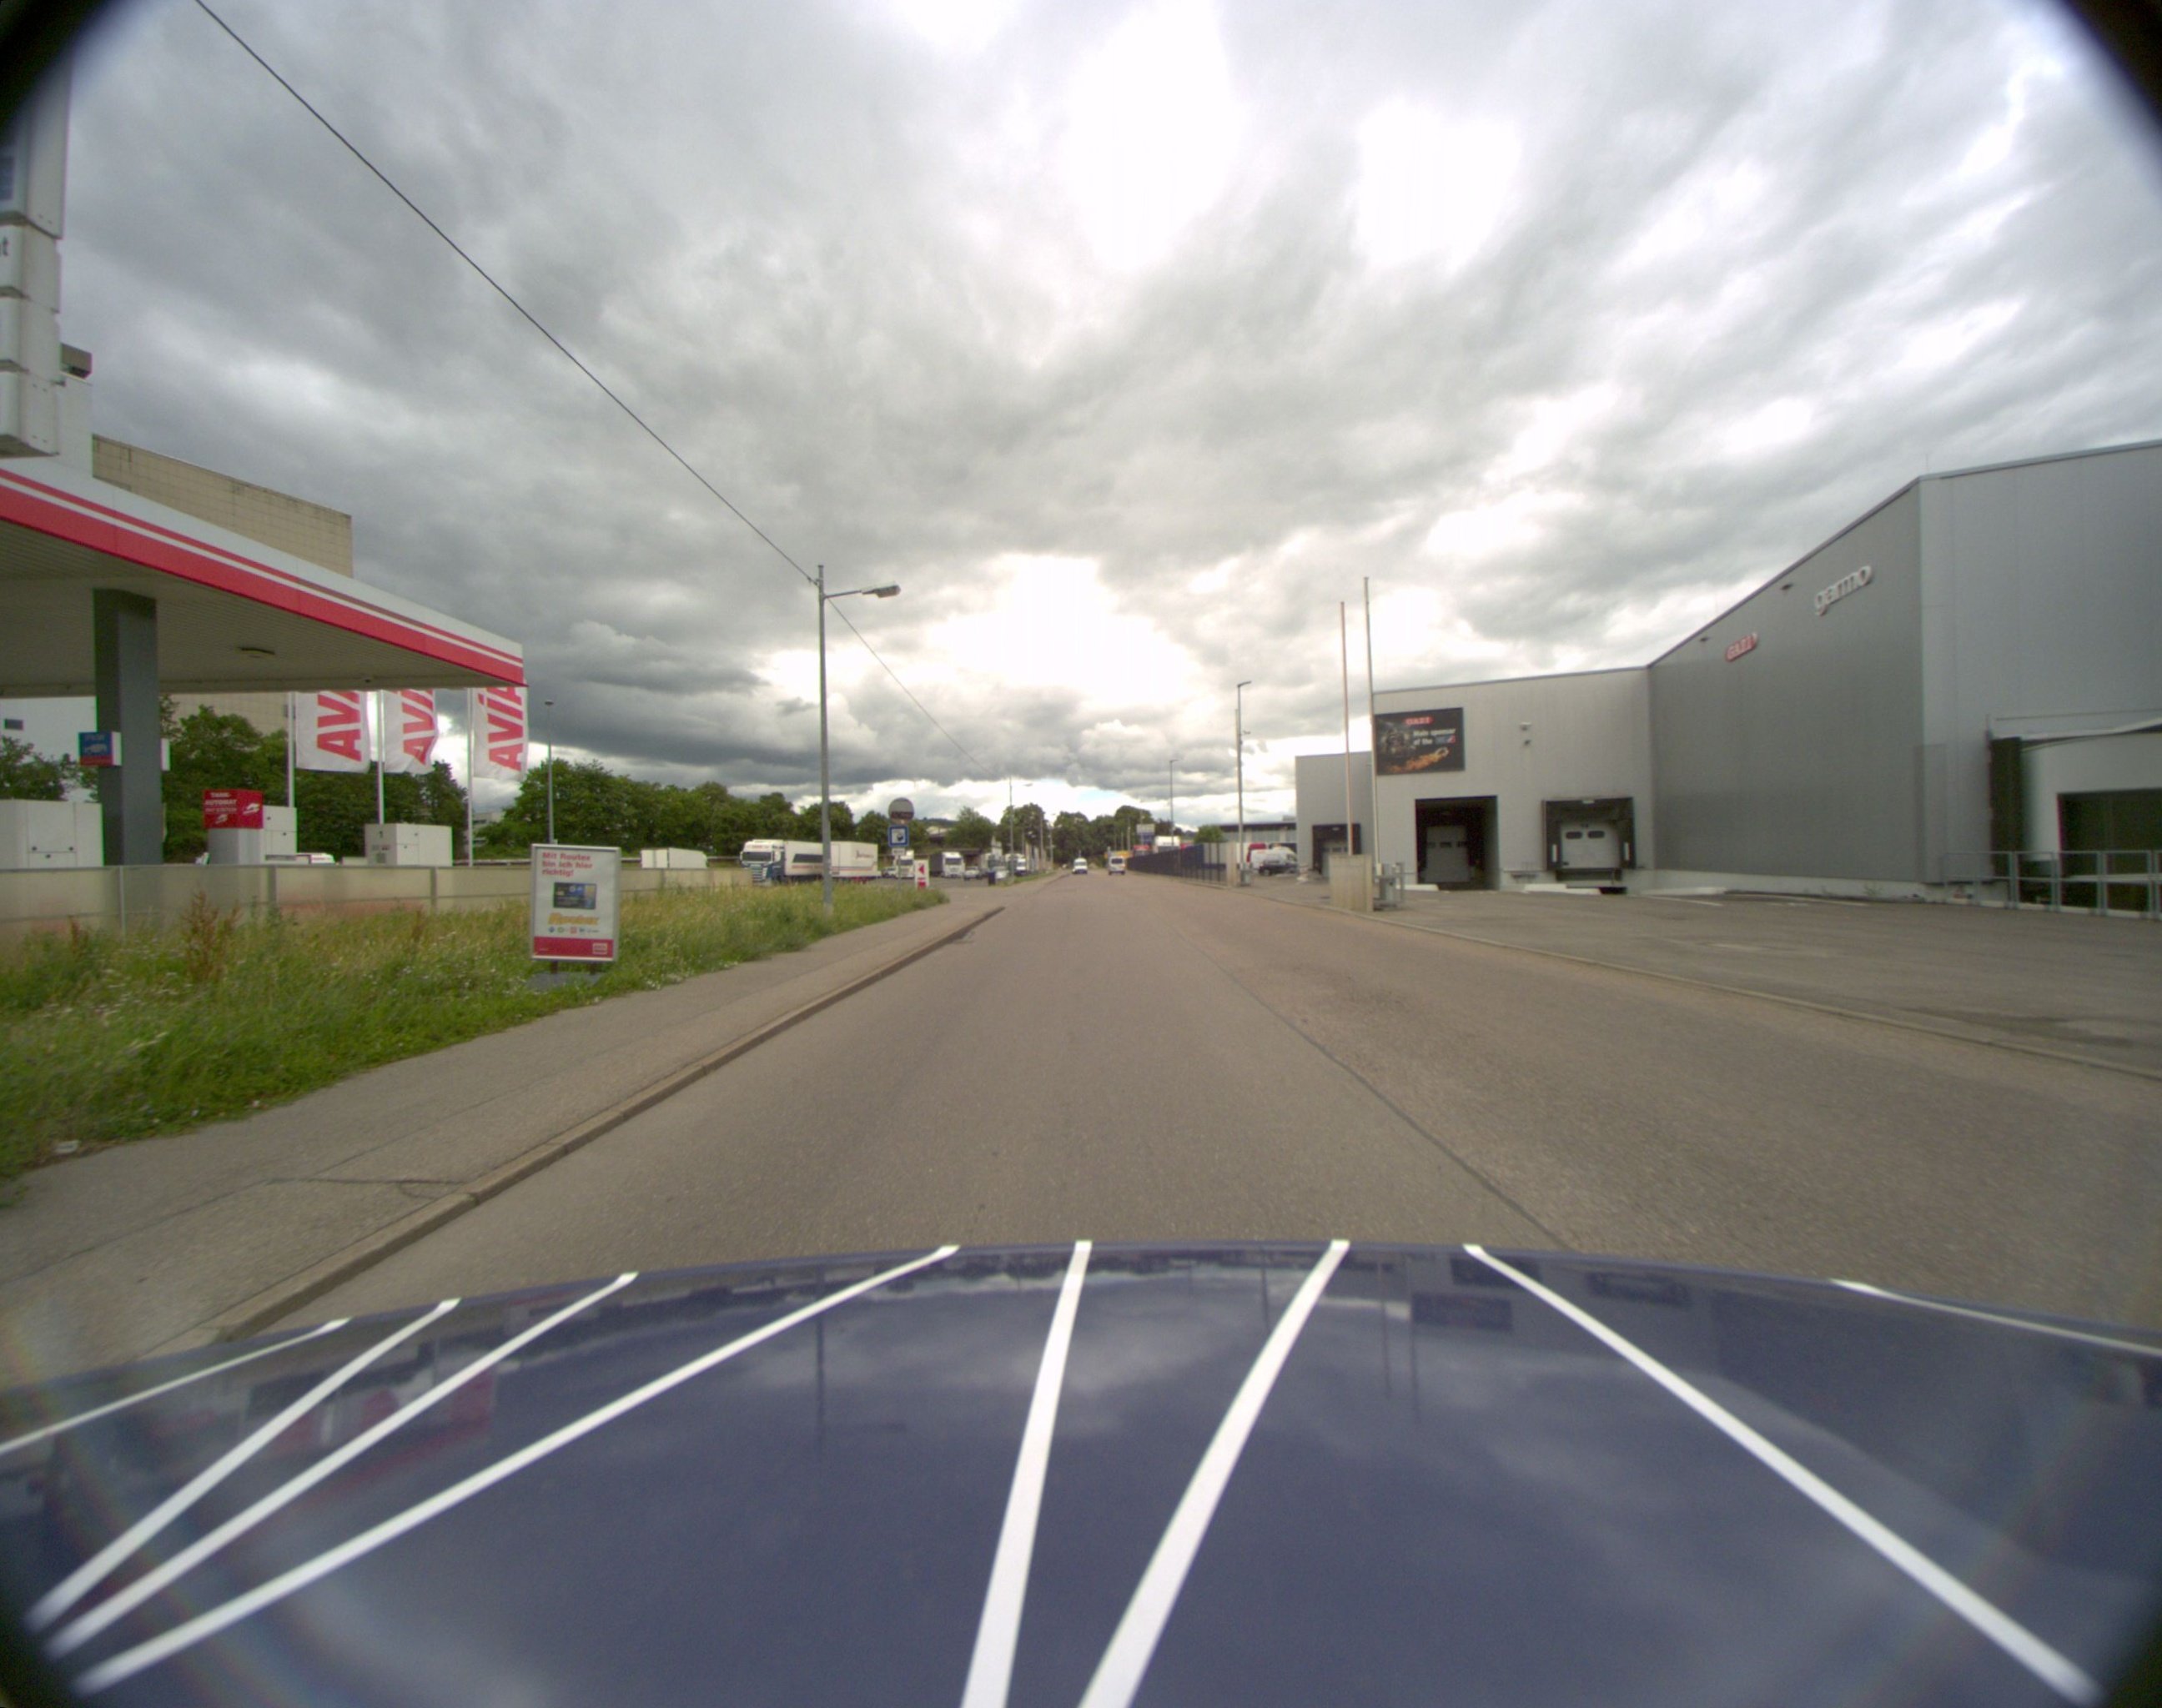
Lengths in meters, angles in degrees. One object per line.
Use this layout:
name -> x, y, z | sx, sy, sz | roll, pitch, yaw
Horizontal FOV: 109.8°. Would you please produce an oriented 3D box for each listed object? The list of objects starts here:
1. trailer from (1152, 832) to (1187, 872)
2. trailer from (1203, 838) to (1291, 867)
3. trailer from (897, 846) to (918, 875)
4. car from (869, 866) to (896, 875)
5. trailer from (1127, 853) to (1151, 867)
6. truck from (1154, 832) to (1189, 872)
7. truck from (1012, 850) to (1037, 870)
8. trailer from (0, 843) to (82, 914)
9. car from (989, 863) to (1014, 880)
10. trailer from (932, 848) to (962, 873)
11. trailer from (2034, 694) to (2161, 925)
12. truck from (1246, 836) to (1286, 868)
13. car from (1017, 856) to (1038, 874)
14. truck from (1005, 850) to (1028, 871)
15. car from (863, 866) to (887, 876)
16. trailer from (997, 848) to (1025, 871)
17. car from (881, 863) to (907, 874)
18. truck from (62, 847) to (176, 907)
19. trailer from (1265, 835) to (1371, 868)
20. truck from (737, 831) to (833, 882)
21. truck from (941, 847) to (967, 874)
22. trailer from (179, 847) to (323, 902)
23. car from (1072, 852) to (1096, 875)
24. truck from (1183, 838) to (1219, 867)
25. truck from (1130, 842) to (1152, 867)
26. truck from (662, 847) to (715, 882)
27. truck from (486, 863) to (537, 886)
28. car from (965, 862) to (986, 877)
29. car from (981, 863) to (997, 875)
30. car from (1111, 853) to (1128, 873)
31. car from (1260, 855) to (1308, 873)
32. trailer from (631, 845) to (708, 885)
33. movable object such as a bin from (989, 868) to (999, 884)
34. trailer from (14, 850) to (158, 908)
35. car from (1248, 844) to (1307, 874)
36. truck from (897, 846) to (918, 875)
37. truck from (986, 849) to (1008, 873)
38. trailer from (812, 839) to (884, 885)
trailer -> 10.053, -0.176, 87.502 | 3.366, 4.135, 13.853 | 0, 0, 4
trailer -> 23.766, -0.203, 109.185 | 12.021, 4.108, 3.053 | 0, 0, 19
trailer -> -26.357, 1.013, 115.093 | 2.841, 4.070, 13.382 | 0, -1, -13
car -> -36.614, 3.049, 140.045 | 4.708, 1.431, 2.004 | -2, 0, 32
trailer -> 9.213, 0.951, 122.155 | 3.046, 2.179, 12.049 | 0, 0, 1
truck -> 9.527, -0.192, 80.521 | 3.366, 4.136, 5.629 | 0, 0, 4
truck -> -11.252, 1.181, 150.573 | 2.832, 3.689, 9.091 | -2, 0, -17
trailer -> -75.848, 1.816, 53.556 | 18.243, 4.474, 3.565 | -2, 1, 28
car -> -7.451, 1.626, 71.539 | 1.778, 1.455, 4.560 | -2, 0, 1
trailer -> -22.482, 1.128, 126.850 | 2.842, 4.070, 13.375 | 0, -1, -19
trailer -> 18.720, -0.811, 9.289 | 2.745, 4.007, 12.637 | -2, -1, 21
truck -> 25.195, -0.291, 103.283 | 4.870, 4.180, 3.053 | 0, 0, 23
car -> -7.247, 1.457, 102.990 | 2.091, 2.401, 6.084 | -2, 0, 2
truck -> -11.371, 1.136, 133.386 | 2.876, 3.608, 6.749 | 0, -1, -14
car -> -37.215, 3.064, 137.270 | 3.989, 1.861, 2.004 | -1, 0, 30
trailer -> -13.021, 1.003, 139.553 | 2.841, 4.070, 13.380 | 0, -1, -15
car -> -34.828, 2.709, 141.683 | 4.708, 1.881, 2.004 | -2, 0, 32
truck -> -69.522, 1.657, 54.920 | 7.238, 4.096, 3.718 | -2, 0, 27
trailer -> 31.362, -0.279, 100.686 | 13.158, 4.188, 3.053 | 0, 0, 23
truck -> -25.362, 0.257, 66.190 | 3.082, 3.944, 13.070 | 0, 0, 1
truck -> -20.089, 1.081, 120.018 | 2.877, 4.070, 6.746 | 0, -1, -19
trailer -> -70.428, 1.810, 64.235 | 18.453, 4.148, 3.649 | -2, 0, 28
car -> 0.467, 1.530, 121.777 | 3.339, 3.586, 8.668 | -1, 0, -3
truck -> 17.430, -0.252, 110.616 | 4.878, 4.108, 3.048 | 0, 0, 1
truck -> 9.100, 0.112, 116.551 | 3.021, 3.826, 5.670 | 0, 0, 1
truck -> -45.506, 1.245, 88.320 | 3.632, 3.856, 7.249 | -1, 0, -12
truck -> -65.617, 2.345, 87.584 | 5.942, 2.476, 2.286 | 0, 0, 27
car -> -12.358, 1.764, 89.215 | 1.769, 1.561, 4.000 | -4, 0, 0
car -> -12.416, 2.060, 103.270 | 1.497, 1.486, 4.053 | -2, 0, 2
car -> 5.108, 1.159, 100.100 | 1.998, 2.401, 5.258 | -3, -1, 4
car -> 19.149, 0.935, 71.664 | 4.072, 1.567, 1.947 | -3, -1, 22
trailer -> -44.036, 1.143, 81.930 | 3.644, 3.887, 13.724 | -1, -1, -13
movable object such as a bin -> -6.235, 1.568, 54.522 | 0.716, 1.075, 0.662 | -1, 0, -6
trailer -> -77.676, 1.960, 59.120 | 18.453, 4.065, 3.649 | -2, 0, 27
car -> 19.812, 0.496, 76.687 | 5.423, 2.714, 2.245 | -3, -1, 20
truck -> -24.971, 0.941, 109.121 | 2.876, 4.070, 6.749 | 0, -1, -13
truck -> -14.367, 1.199, 129.217 | 2.876, 3.989, 6.749 | 0, -1, -14
trailer -> -21.363, 0.699, 70.433 | 2.964, 3.944, 10.408 | 0, 0, 3
